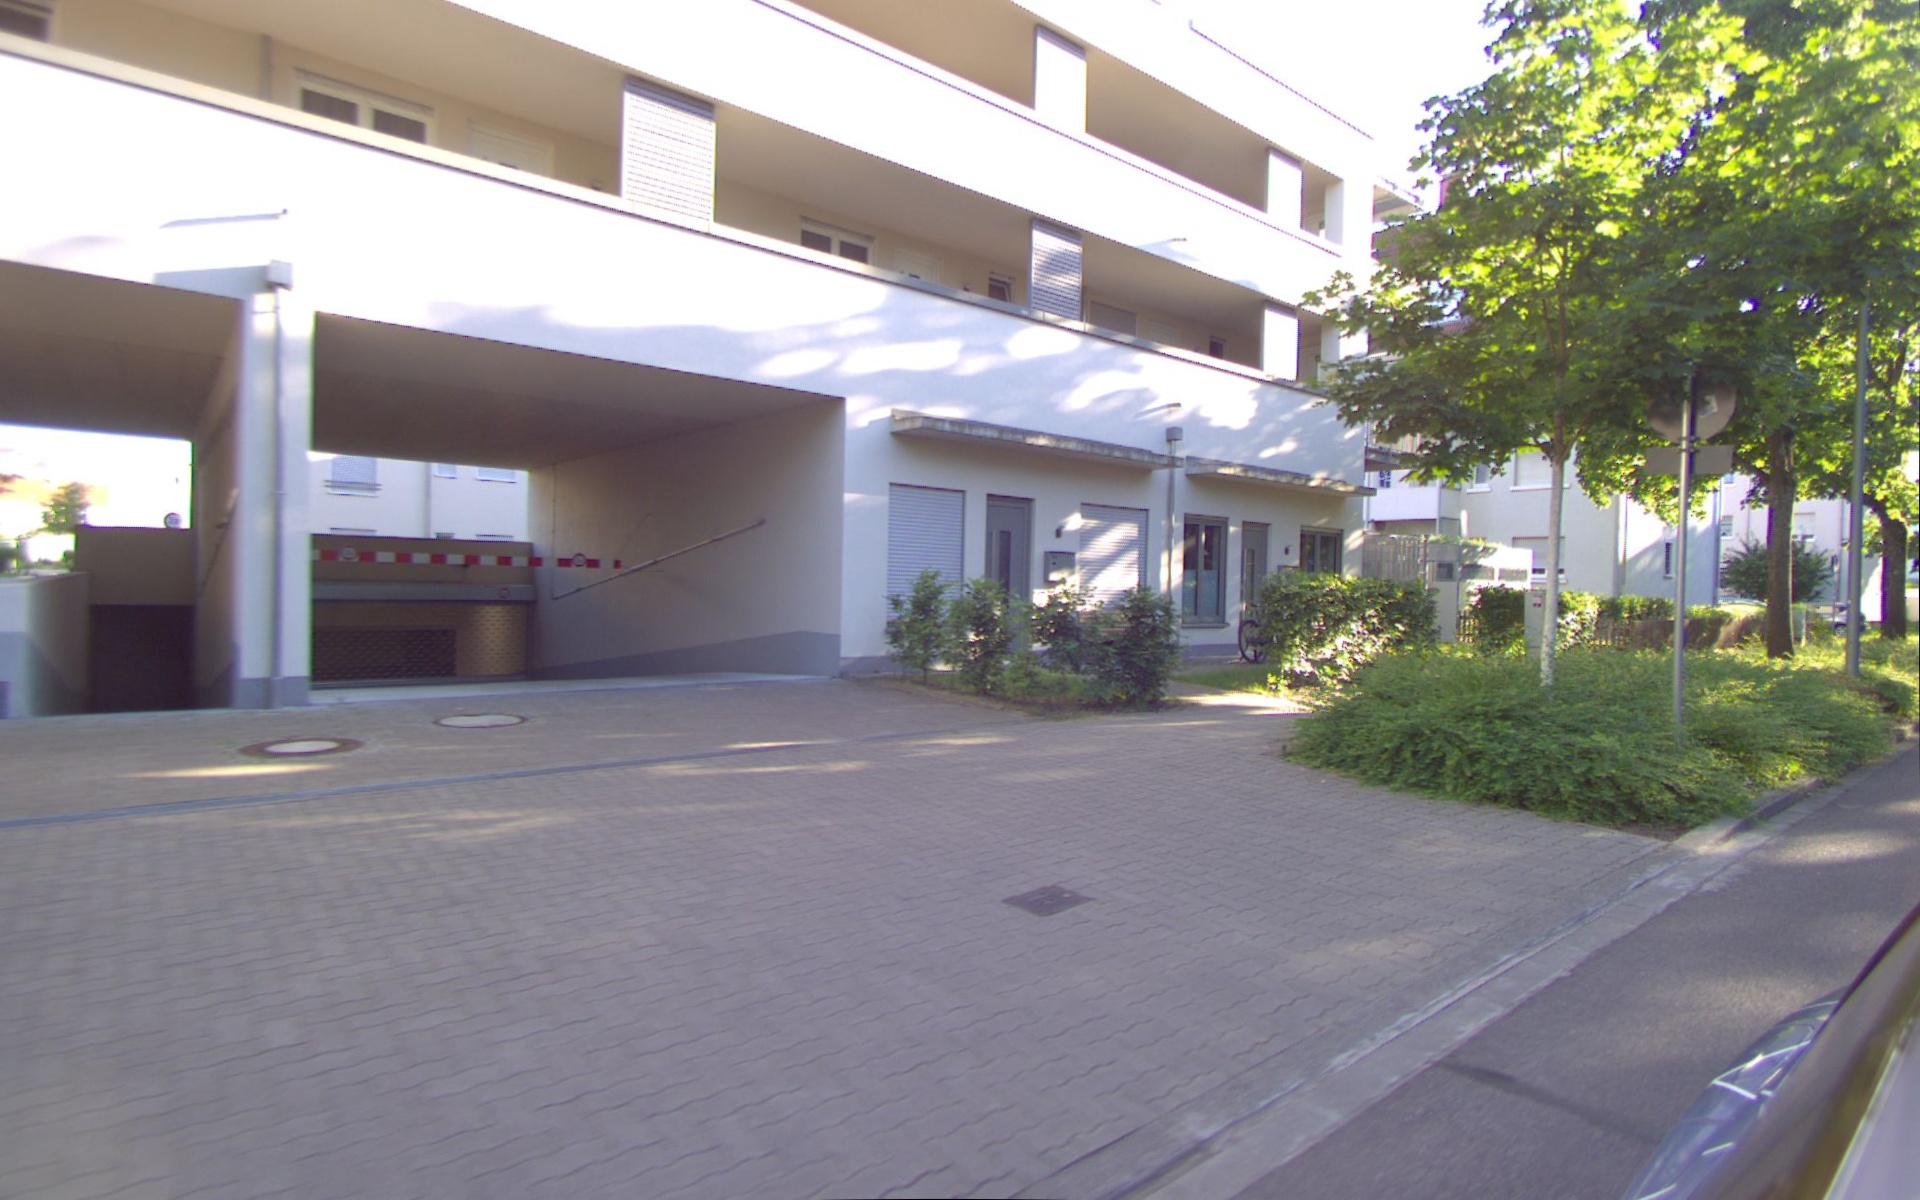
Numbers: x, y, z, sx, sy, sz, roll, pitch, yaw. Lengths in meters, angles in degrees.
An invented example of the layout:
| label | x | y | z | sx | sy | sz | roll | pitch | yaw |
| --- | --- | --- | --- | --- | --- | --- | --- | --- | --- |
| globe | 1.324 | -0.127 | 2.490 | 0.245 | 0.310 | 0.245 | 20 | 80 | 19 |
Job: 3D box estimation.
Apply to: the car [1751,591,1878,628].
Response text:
| label | x | y | z | sx | sy | sz | roll | pitch | yaw |
| --- | --- | --- | --- | --- | --- | --- | --- | --- | --- |
| car | 37.592 | 0.382 | 44.600 | 1.696 | 1.533 | 4.050 | -1 | 1 | -39 |

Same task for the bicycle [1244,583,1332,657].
| label | x | y | z | sx | sy | sz | roll | pitch | yaw |
| --- | --- | --- | --- | --- | --- | --- | --- | --- | --- |
| bicycle | 5.554 | 0.318 | 17.103 | 1.722 | 1.206 | 0.619 | 0 | 0 | -41 |

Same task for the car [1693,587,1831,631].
| label | x | y | z | sx | sy | sz | roll | pitch | yaw |
| --- | --- | --- | --- | --- | --- | --- | --- | --- | --- |
| car | 31.786 | 0.338 | 40.203 | 1.777 | 1.601 | 3.995 | 2 | 0 | -40 |
